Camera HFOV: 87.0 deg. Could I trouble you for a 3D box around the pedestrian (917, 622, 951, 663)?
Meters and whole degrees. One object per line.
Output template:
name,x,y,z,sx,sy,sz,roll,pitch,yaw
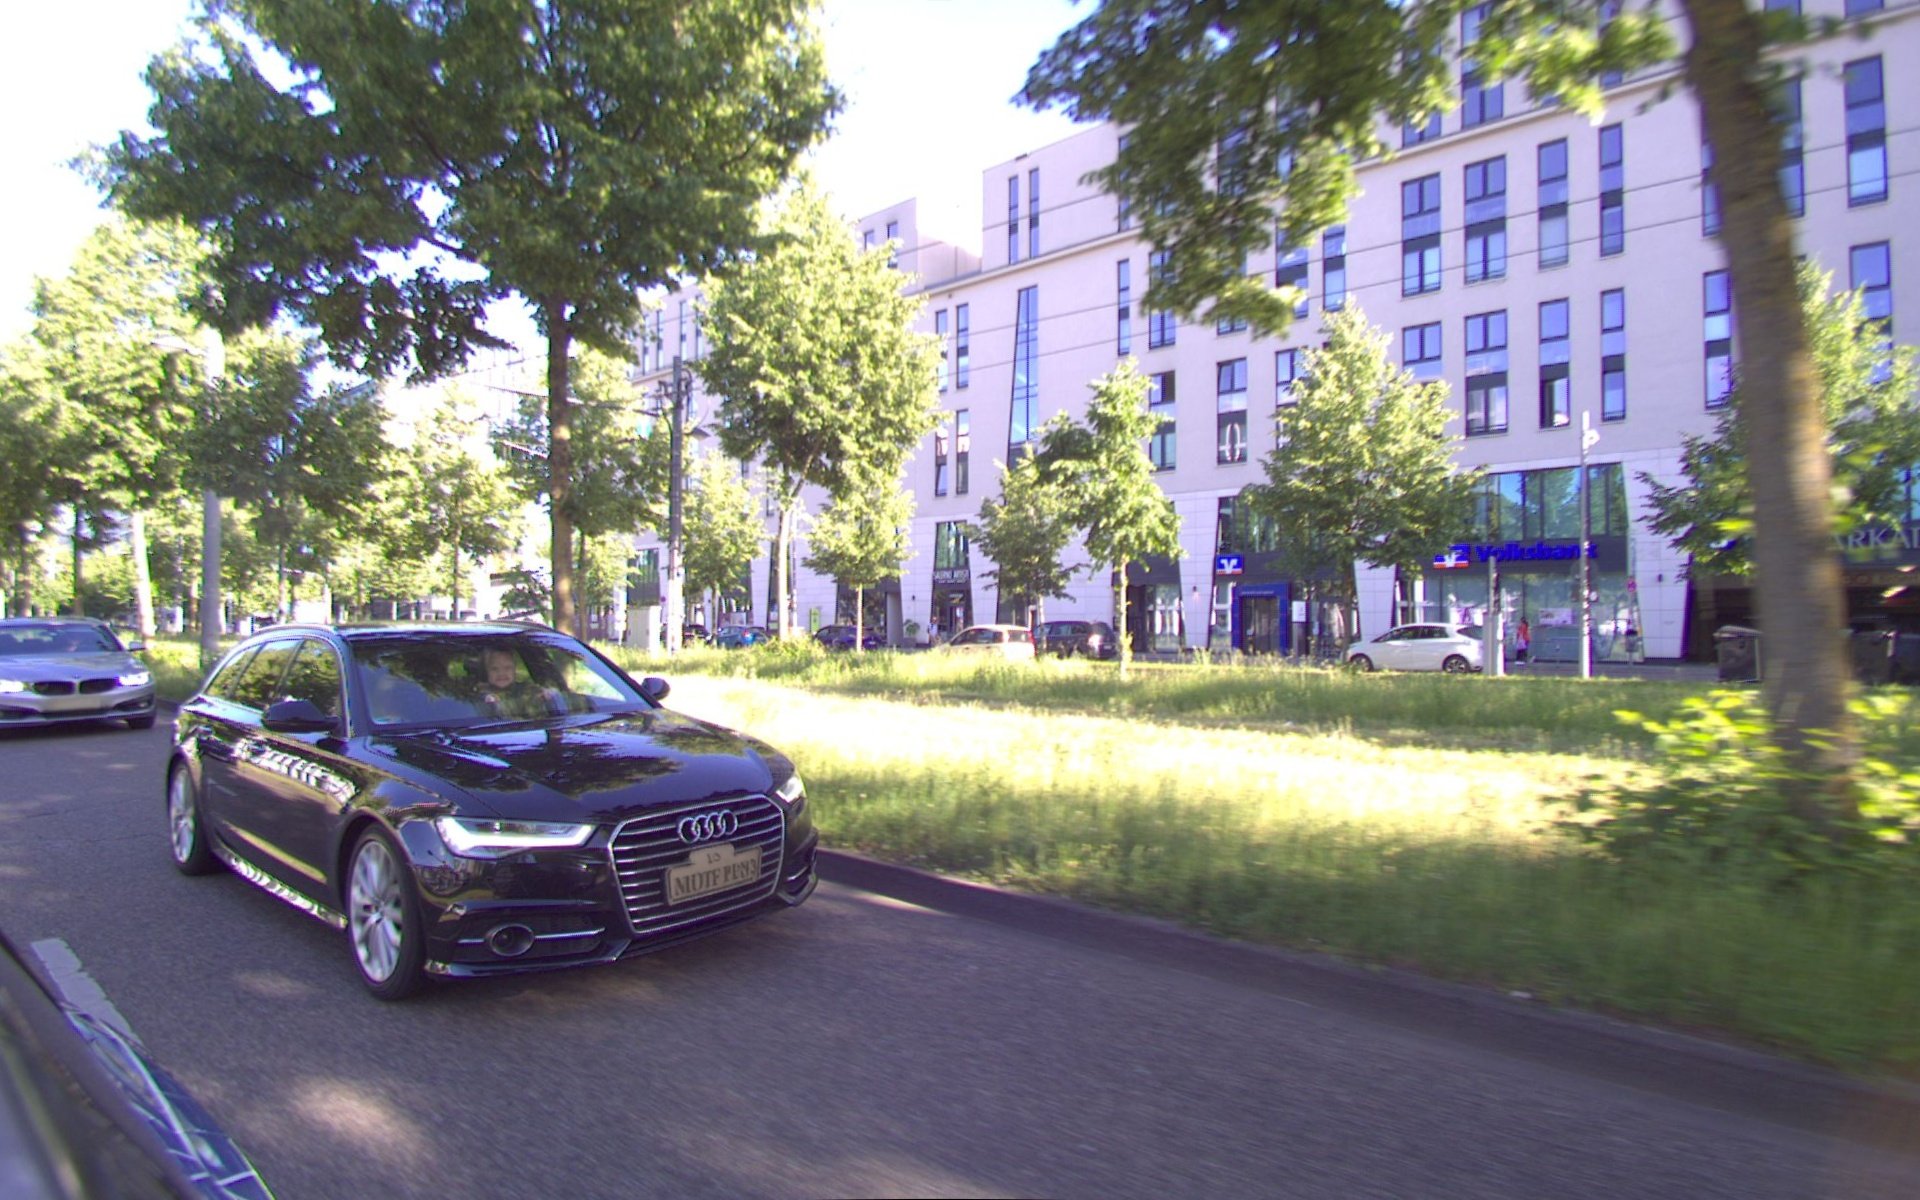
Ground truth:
pedestrian,-1.140,1.871,44.729,1.222,1.756,0.834,-1,0,42

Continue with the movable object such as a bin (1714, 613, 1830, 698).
movable object such as a bin,18.723,1.221,23.401,2.008,1.808,1.951,-1,0,39

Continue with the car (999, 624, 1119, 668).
car,3.552,1.627,36.814,4.268,1.491,1.542,-1,-1,41

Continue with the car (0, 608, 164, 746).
car,-12.421,0.927,13.707,4.276,1.590,1.862,-1,0,42

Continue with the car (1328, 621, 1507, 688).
car,13.146,1.499,29.190,4.334,1.742,1.974,-1,0,39

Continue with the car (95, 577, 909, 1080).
car,-2.796,0.775,5.402,5.080,1.492,1.933,-3,-2,40

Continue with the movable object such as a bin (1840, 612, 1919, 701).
movable object such as a bin,20.344,1.199,22.133,1.554,1.808,1.951,-1,0,39

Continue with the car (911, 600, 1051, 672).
car,0.589,1.044,30.882,4.001,2.029,1.971,-1,0,44

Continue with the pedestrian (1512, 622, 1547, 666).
pedestrian,19.852,1.515,35.283,1.024,1.479,0.939,-1,0,32

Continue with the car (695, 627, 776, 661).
car,-11.235,2.168,50.487,3.997,1.584,1.973,-1,-2,41

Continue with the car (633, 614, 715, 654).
car,-15.266,1.813,53.914,4.549,2.029,1.974,-1,-2,39

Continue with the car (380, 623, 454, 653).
car,-29.558,2.026,55.012,4.451,1.452,1.974,-1,0,39

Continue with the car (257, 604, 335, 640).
car,-45.743,1.494,69.685,6.015,2.399,2.484,-1,0,35

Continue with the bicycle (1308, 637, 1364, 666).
bicycle,13.979,1.889,37.668,0.610,0.996,1.850,-1,0,-43

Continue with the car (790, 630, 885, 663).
car,-5.526,2.052,45.337,4.331,1.424,1.706,-1,-2,38

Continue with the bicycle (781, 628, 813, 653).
bicycle,-9.371,2.312,58.073,0.654,1.335,2.338,-1,0,-43
